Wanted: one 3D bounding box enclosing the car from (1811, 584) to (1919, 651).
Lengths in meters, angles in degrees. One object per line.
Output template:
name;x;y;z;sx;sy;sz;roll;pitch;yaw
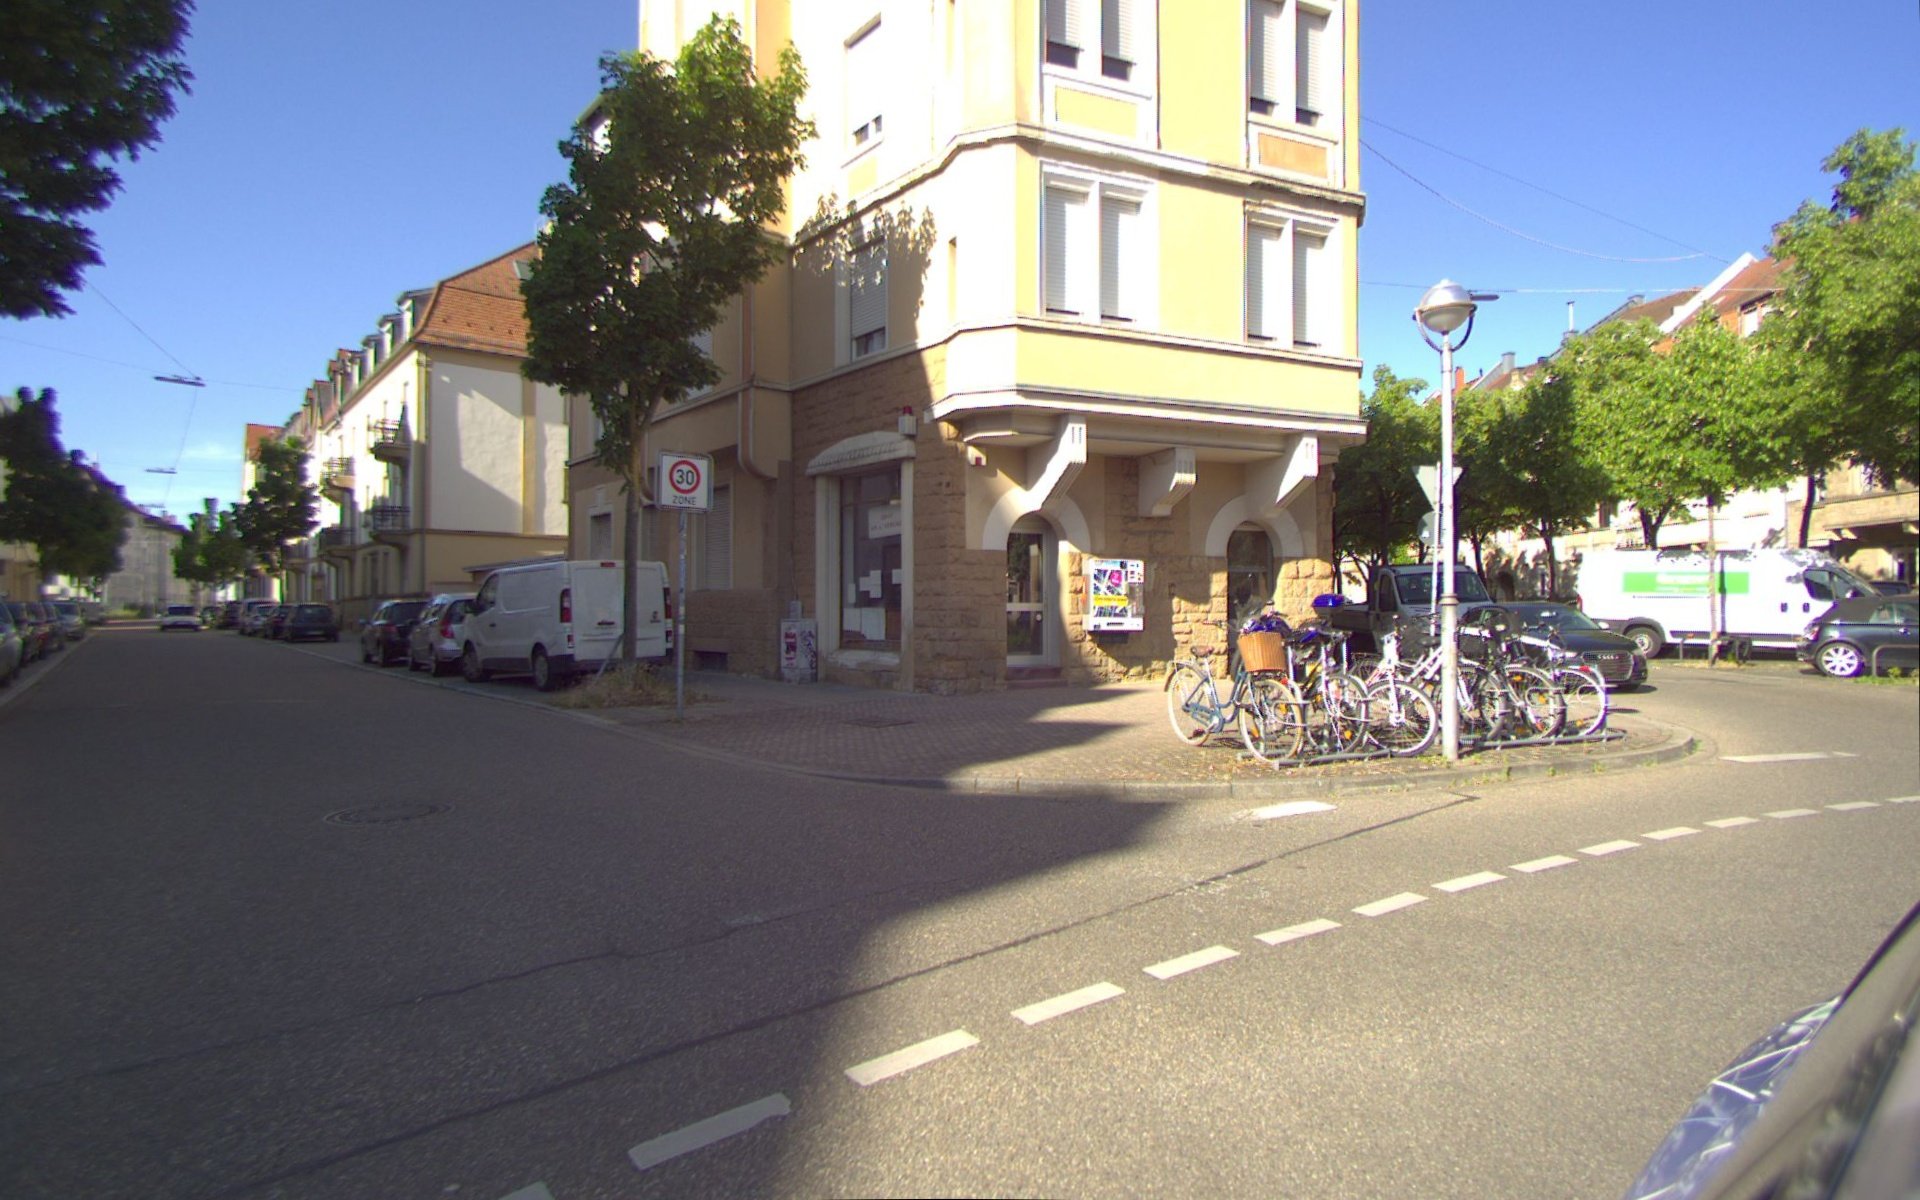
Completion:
car;21.804;0.400;23.022;3.341;1.465;1.677;1;0;20

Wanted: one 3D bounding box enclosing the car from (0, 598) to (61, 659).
car;-25.065;0.724;26.803;1.671;1.544;3.765;0;-1;-38

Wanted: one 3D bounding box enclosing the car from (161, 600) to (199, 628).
car;-42.854;0.765;55.641;1.608;1.502;3.332;0;-1;-37

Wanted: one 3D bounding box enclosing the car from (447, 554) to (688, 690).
car;-6.615;0.332;16.778;2.107;1.933;4.548;0;-1;-45

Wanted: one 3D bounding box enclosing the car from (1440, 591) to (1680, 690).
car;9.675;0.593;16.715;1.657;1.407;3.920;-1;0;1

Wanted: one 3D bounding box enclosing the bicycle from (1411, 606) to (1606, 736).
bicycle;5.241;0.631;9.789;0.473;1.137;1.699;0;0;-25

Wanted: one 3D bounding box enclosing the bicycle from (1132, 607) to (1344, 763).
bicycle;2.276;0.647;8.555;0.685;1.144;1.871;-1;0;-23

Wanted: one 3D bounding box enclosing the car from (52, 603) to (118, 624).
car;-65.578;0.983;75.919;3.704;1.544;1.698;0;-1;-42

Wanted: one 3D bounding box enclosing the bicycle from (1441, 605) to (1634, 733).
bicycle;5.661;0.628;10.033;0.473;1.137;1.722;0;0;-23

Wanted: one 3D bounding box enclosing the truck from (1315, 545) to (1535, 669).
truck;9.995;0.140;22.569;2.100;2.321;6.615;-1;0;3

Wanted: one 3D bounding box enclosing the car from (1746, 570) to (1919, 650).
car;22.094;0.220;25.585;3.362;1.888;1.667;1;0;35

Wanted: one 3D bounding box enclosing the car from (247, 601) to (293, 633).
car;-32.023;0.781;46.952;1.608;1.446;3.332;0;-1;-37

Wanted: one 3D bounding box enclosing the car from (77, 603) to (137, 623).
car;-69.992;1.042;83.068;3.704;1.544;1.698;0;-1;-42

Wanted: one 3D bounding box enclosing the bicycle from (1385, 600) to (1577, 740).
bicycle;4.872;0.603;9.590;0.442;1.207;1.699;0;0;-25

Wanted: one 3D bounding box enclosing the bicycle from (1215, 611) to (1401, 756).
bicycle;2.980;0.662;8.882;0.525;1.104;1.883;0;0;-17

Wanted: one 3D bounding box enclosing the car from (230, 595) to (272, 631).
car;-35.698;0.654;50.937;1.608;1.769;3.332;0;-1;-37

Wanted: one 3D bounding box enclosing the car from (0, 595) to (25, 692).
car;-15.776;0.658;15.633;1.671;1.430;3.659;0;-1;-38

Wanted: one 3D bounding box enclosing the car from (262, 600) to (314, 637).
car;-27.750;0.751;41.736;1.608;1.446;3.332;0;-1;-37

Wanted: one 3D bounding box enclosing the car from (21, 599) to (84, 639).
car;-37.019;0.763;41.335;1.671;1.544;3.765;0;-1;-38

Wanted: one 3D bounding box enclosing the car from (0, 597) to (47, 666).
car;-22.420;0.700;23.403;1.671;1.505;3.765;0;-1;-38

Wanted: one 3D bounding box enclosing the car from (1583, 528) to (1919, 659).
car;18.027;-0.158;22.929;2.068;2.633;6.361;1;0;-44

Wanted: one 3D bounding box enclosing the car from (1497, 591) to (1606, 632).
car;23.050;0.430;39.492;3.373;1.488;1.661;1;0;44

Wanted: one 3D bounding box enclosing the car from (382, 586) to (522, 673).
car;-10.389;0.561;20.585;1.610;1.593;3.730;0;-1;-42

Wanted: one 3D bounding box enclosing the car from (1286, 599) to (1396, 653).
car;10.702;0.690;28.722;1.657;1.407;3.920;-1;0;1

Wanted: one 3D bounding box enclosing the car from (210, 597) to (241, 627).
car;-44.560;0.712;61.406;1.483;1.769;3.332;0;-1;-37

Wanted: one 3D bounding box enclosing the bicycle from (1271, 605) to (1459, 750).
bicycle;3.566;0.629;9.085;0.624;1.160;1.700;0;0;-17

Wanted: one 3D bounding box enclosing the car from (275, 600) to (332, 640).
car;-24.866;0.736;38.301;1.608;1.446;3.332;0;-1;-37

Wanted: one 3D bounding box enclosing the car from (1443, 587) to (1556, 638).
car;19.085;0.431;35.832;3.468;1.686;1.670;1;0;31

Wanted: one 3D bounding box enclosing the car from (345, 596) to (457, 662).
car;-13.277;0.650;23.953;1.610;1.446;3.327;0;-1;-42

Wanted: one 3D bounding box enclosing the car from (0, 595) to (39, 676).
car;-19.546;0.679;20.023;1.671;1.505;3.998;0;-1;-38

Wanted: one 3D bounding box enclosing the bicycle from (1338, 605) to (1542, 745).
bicycle;4.370;0.631;9.347;0.604;1.160;1.699;0;0;-25

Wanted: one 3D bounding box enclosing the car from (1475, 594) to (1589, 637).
car;21.112;0.550;37.420;3.373;1.488;1.661;1;0;44

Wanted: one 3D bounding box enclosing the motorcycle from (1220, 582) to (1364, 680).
motorcycle;5.113;0.471;15.565;2.204;1.429;0.701;2;0;-26

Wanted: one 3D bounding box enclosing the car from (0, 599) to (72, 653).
car;-28.165;0.754;30.680;1.671;1.544;3.765;0;-1;-38

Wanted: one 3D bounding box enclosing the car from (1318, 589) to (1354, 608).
car;31.296;-0.130;84.306;1.768;1.529;3.994;0;0;5
